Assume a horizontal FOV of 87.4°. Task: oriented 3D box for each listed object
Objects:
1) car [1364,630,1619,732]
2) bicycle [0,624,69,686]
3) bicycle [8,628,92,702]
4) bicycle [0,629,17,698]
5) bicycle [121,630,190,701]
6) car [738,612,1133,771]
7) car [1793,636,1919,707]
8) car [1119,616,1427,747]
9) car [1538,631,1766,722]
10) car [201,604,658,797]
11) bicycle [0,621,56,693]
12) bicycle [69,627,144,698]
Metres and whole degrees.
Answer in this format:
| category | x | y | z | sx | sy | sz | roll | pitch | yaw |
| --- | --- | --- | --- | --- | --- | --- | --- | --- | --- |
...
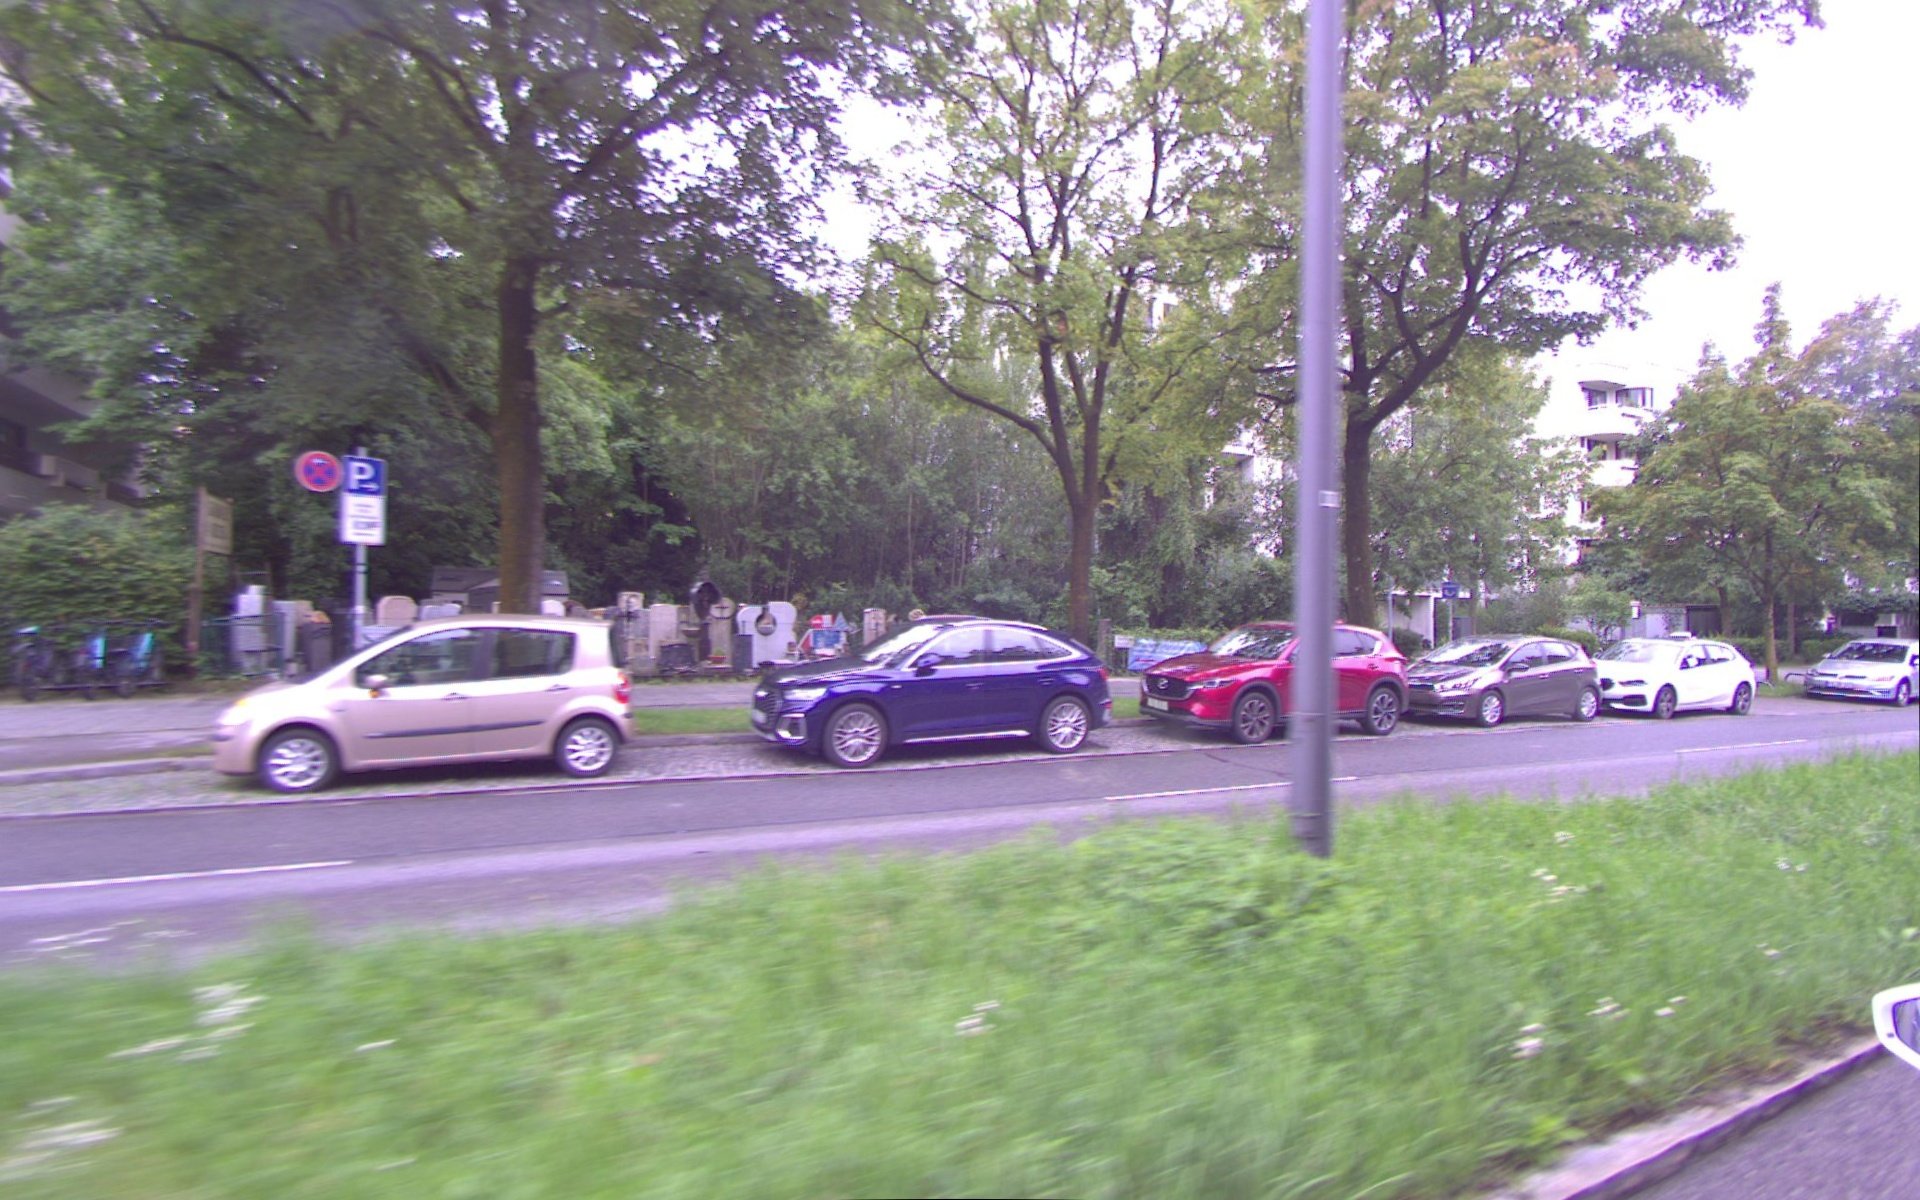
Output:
| category | x | y | z | sx | sy | sz | roll | pitch | yaw |
| --- | --- | --- | --- | --- | --- | --- | --- | --- | --- |
| car | 9.242 | 1.329 | 17.437 | 4.277 | 1.502 | 1.733 | 1 | 1 | -27 |
| bicycle | -16.112 | 0.900 | 16.574 | 2.005 | 1.020 | 0.577 | 1 | -2 | -26 |
| bicycle | -13.426 | 0.932 | 14.854 | 0.431 | 1.020 | 1.756 | 1 | -2 | -26 |
| bicycle | -14.138 | 0.921 | 14.361 | 0.431 | 1.020 | 1.756 | 1 | -2 | -26 |
| bicycle | -12.420 | 0.985 | 15.542 | 0.431 | 1.020 | 1.756 | 1 | -2 | -26 |
| car | -0.250 | 1.028 | 12.493 | 4.623 | 1.665 | 1.733 | 1 | 0 | -27 |
| car | 22.222 | 1.650 | 24.078 | 4.761 | 1.468 | 1.730 | 1 | 1 | -27 |
| car | 4.767 | 1.135 | 15.130 | 4.549 | 1.674 | 1.731 | 1 | 1 | -29 |
| car | 13.475 | 1.416 | 19.537 | 4.417 | 1.550 | 1.733 | 1 | 0 | -27 |
| car | -5.123 | 0.902 | 10.152 | 3.767 | 1.635 | 1.642 | 1 | 0 | -25 |
| bicycle | -15.481 | 0.888 | 15.625 | 2.005 | 1.113 | 0.577 | 1 | -2 | -26 |
| bicycle | -12.937 | 0.921 | 15.270 | 0.431 | 1.020 | 1.756 | 1 | -2 | -26 |
